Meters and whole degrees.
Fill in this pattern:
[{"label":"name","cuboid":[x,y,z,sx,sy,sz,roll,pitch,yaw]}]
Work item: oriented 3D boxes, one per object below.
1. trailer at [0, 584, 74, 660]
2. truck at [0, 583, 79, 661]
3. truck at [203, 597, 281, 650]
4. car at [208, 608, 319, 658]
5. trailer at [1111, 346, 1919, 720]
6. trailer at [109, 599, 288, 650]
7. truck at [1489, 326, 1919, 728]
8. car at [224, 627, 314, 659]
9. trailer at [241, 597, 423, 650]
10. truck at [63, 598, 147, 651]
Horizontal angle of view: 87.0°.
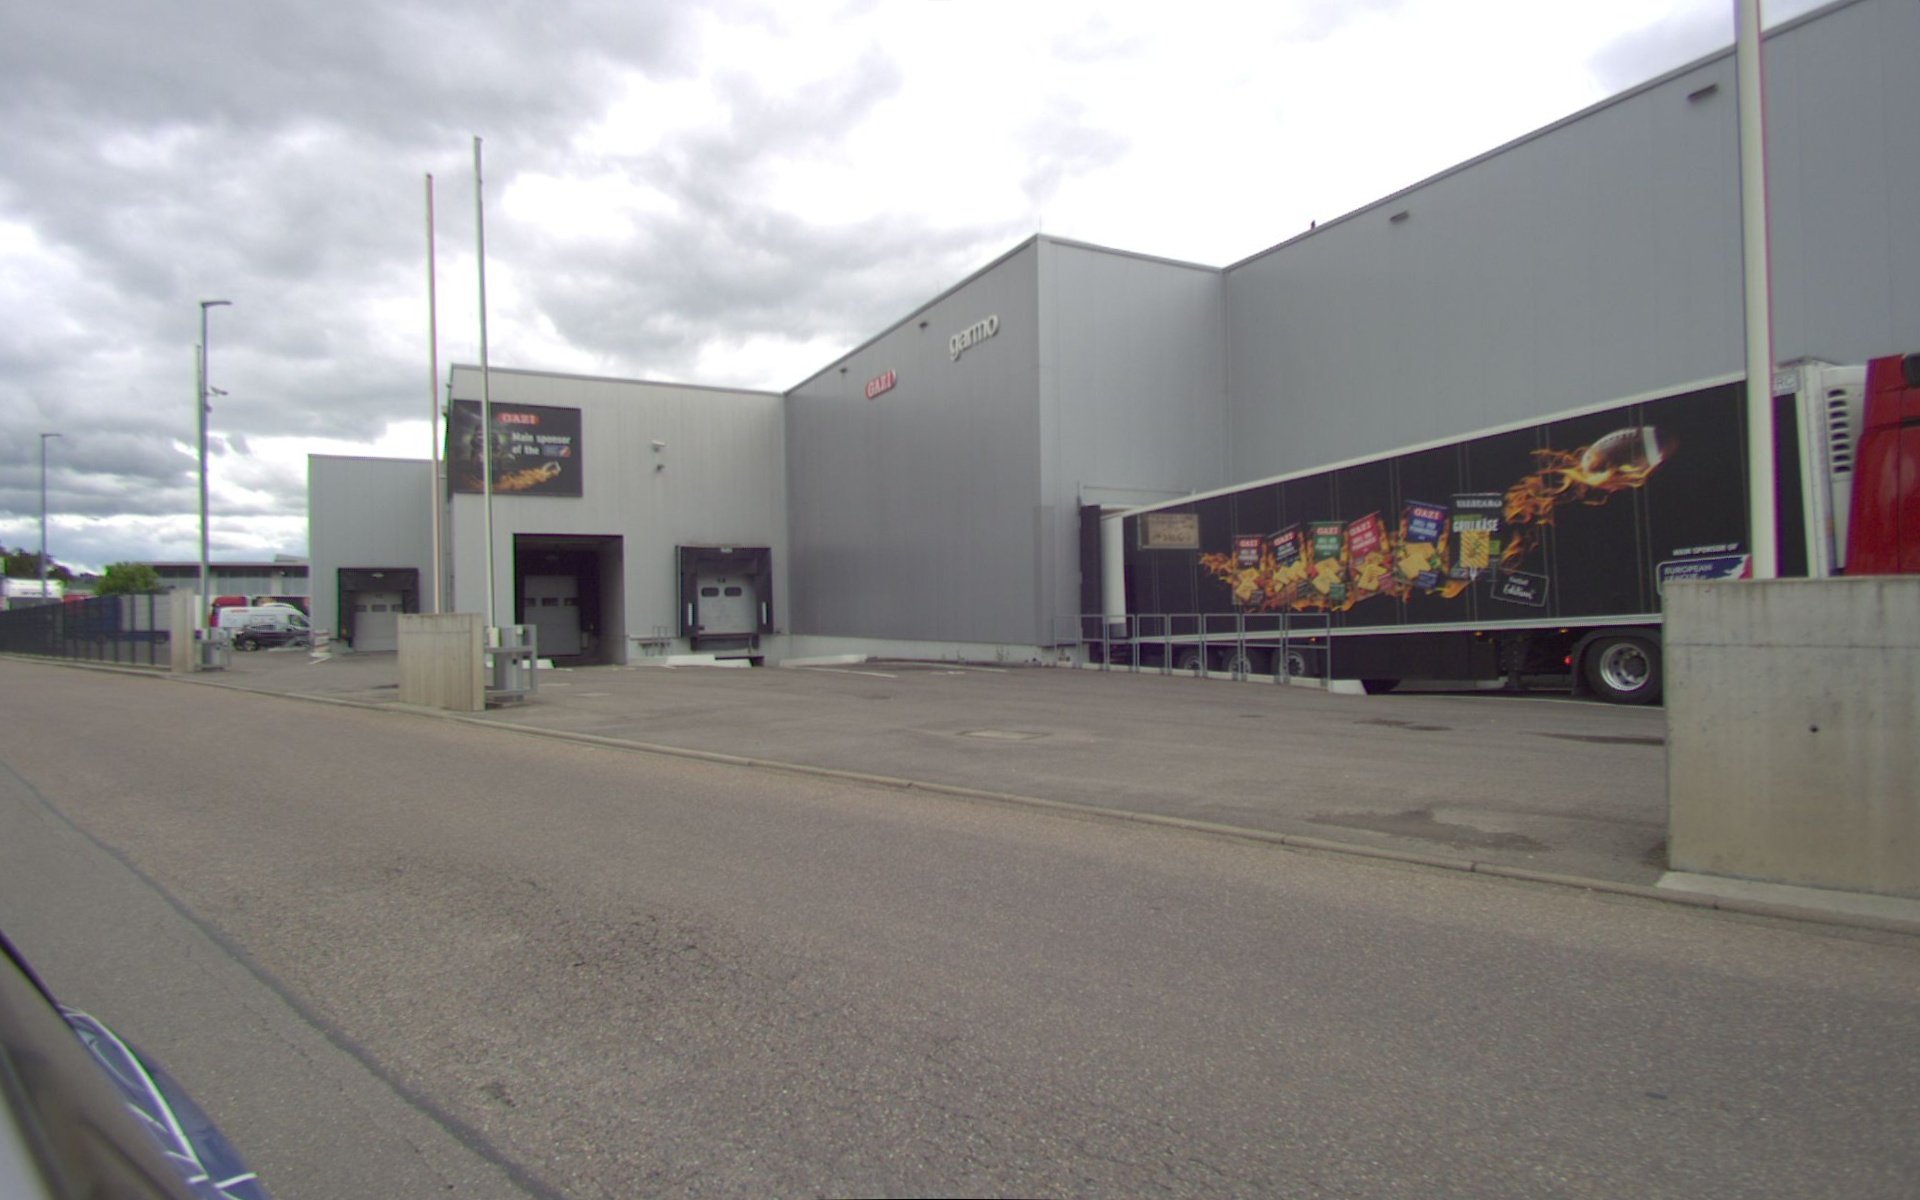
[{"label":"trailer","cuboid":[-56.997,1.452,61.872,3.320,4.192,13.855,2,-3,-45]},{"label":"truck","cuboid":[-52.067,1.283,56.903,3.321,4.192,5.630,2,-3,-45]},{"label":"truck","cuboid":[-59.228,1.966,83.604,4.797,4.237,3.058,1,-2,-26]},{"label":"car","cuboid":[-42.575,1.995,62.062,5.342,2.751,2.248,-3,0,-30]},{"label":"trailer","cuboid":[7.546,-0.609,17.173,2.704,4.061,12.657,-2,-1,-28]},{"label":"trailer","cuboid":[-64.593,2.147,86.393,11.841,4.164,3.057,1,-2,-30]},{"label":"truck","cuboid":[10.410,-0.741,11.795,2.704,4.061,7.115,-2,-1,-28]},{"label":"car","cuboid":[-39.633,2.455,58.159,4.011,1.589,1.950,-3,0,-27]},{"label":"trailer","cuboid":[-53.327,2.051,86.540,12.962,4.245,3.058,1,-2,-27]},{"label":"truck","cuboid":[-69.723,1.997,82.567,3.047,4.164,4.814,-2,-3,42]}]
